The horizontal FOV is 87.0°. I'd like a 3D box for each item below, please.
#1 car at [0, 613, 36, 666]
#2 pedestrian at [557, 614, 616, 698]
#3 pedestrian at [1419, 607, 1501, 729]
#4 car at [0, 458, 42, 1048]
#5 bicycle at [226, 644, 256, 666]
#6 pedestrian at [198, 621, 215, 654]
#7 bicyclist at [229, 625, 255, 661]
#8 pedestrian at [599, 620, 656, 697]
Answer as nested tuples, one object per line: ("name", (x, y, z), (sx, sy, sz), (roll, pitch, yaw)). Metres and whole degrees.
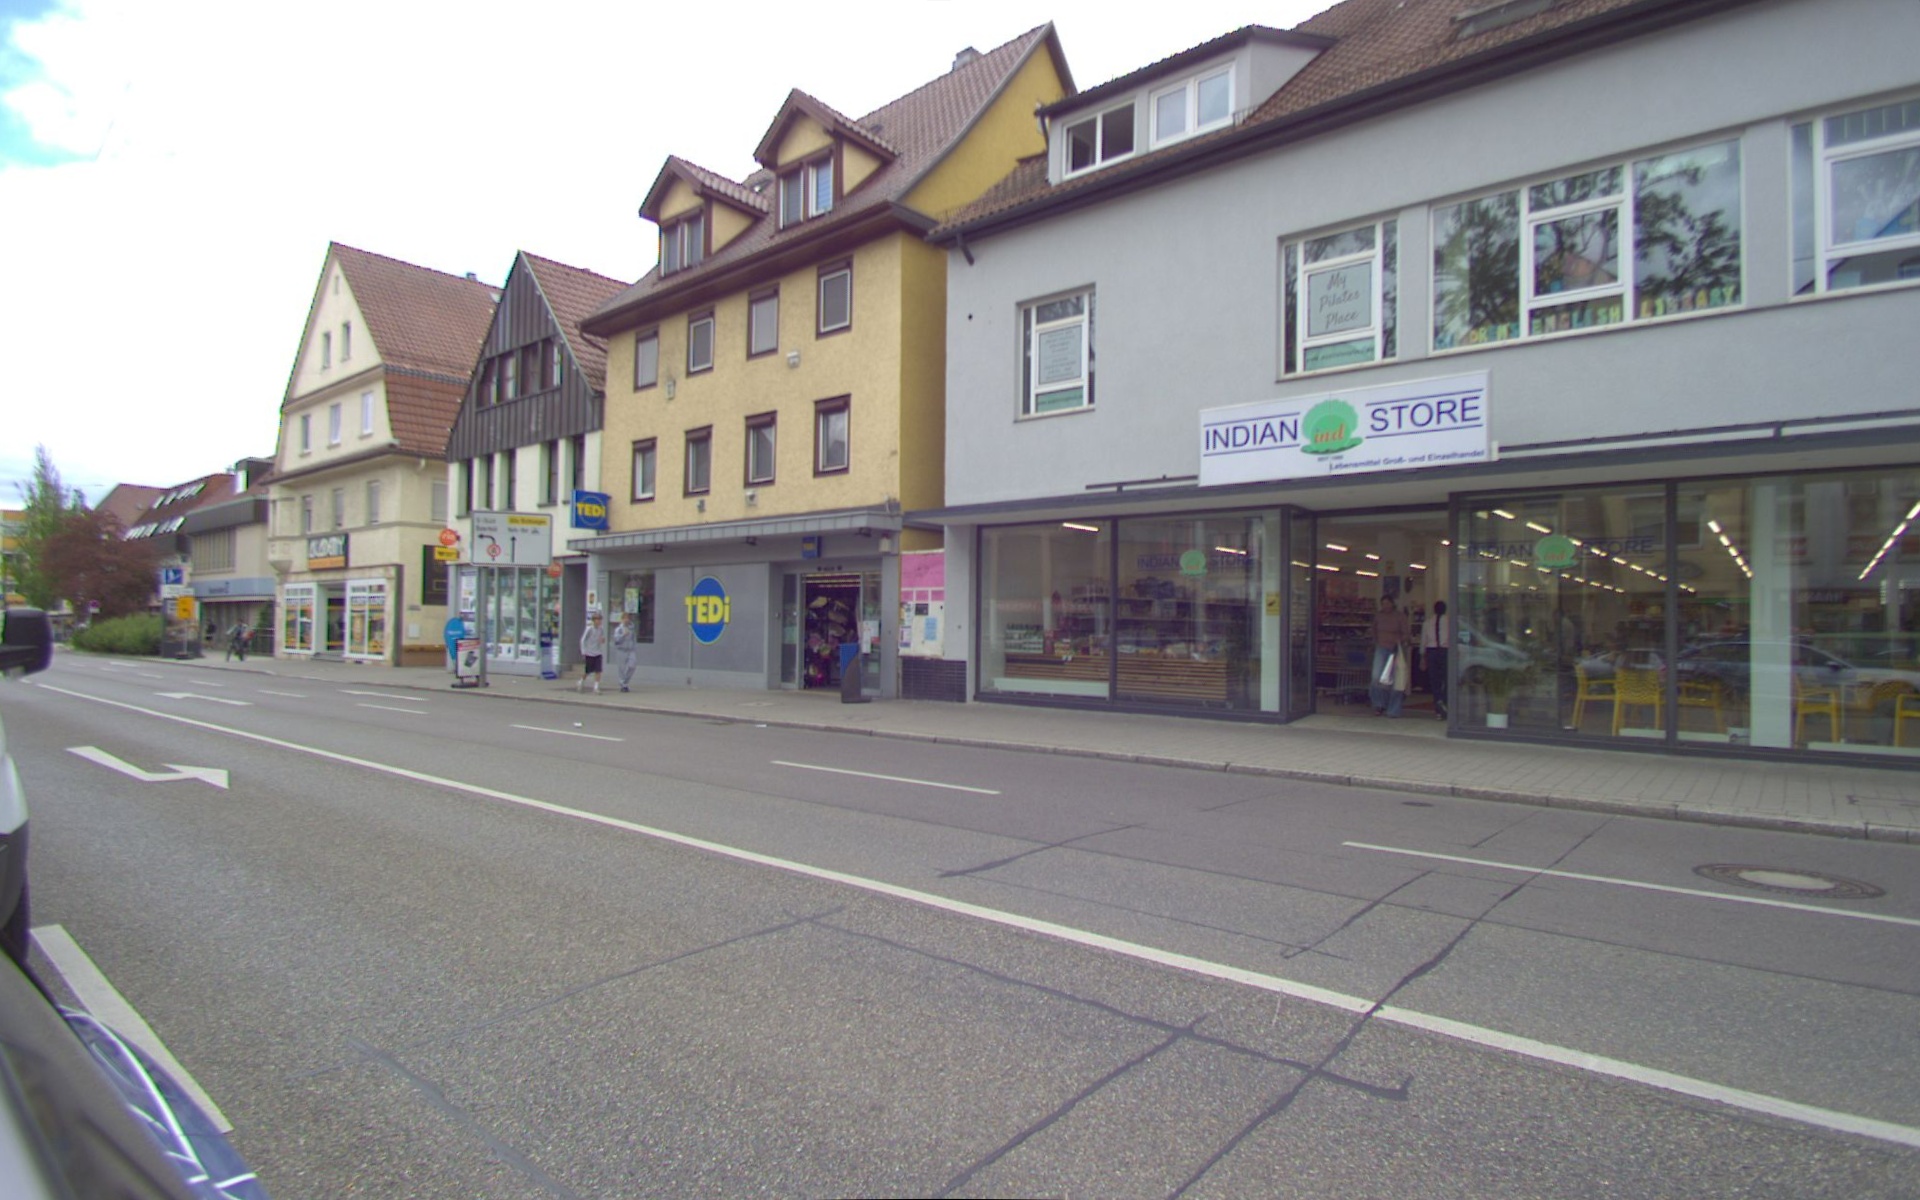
("car", (-37.485, 1.510, 39.253), (4.523, 1.958, 1.885), (-2, -2, 41))
("pedestrian", (-7.724, 1.137, 20.928), (0.920, 1.674, 0.801), (-2, -2, 42))
("pedestrian", (6.732, 0.898, 13.671), (0.840, 1.592, 0.721), (-1, -2, 15))
("car", (-5.978, 0.582, 4.680), (5.777, 1.994, 1.915), (-2, 0, 41))
("bicycle", (-28.854, 2.210, 40.640), (0.760, 0.829, 2.247), (1, -2, -30))
("pedestrian", (-44.163, 2.210, 59.332), (0.678, 1.917, 0.665), (-2, -2, 41))
("bicyclist", (-28.850, 1.708, 40.663), (0.760, 1.434, 0.754), (1, -2, -30))
("pedestrian", (-7.065, 1.225, 21.492), (0.920, 1.595, 0.801), (-2, -2, 42))
